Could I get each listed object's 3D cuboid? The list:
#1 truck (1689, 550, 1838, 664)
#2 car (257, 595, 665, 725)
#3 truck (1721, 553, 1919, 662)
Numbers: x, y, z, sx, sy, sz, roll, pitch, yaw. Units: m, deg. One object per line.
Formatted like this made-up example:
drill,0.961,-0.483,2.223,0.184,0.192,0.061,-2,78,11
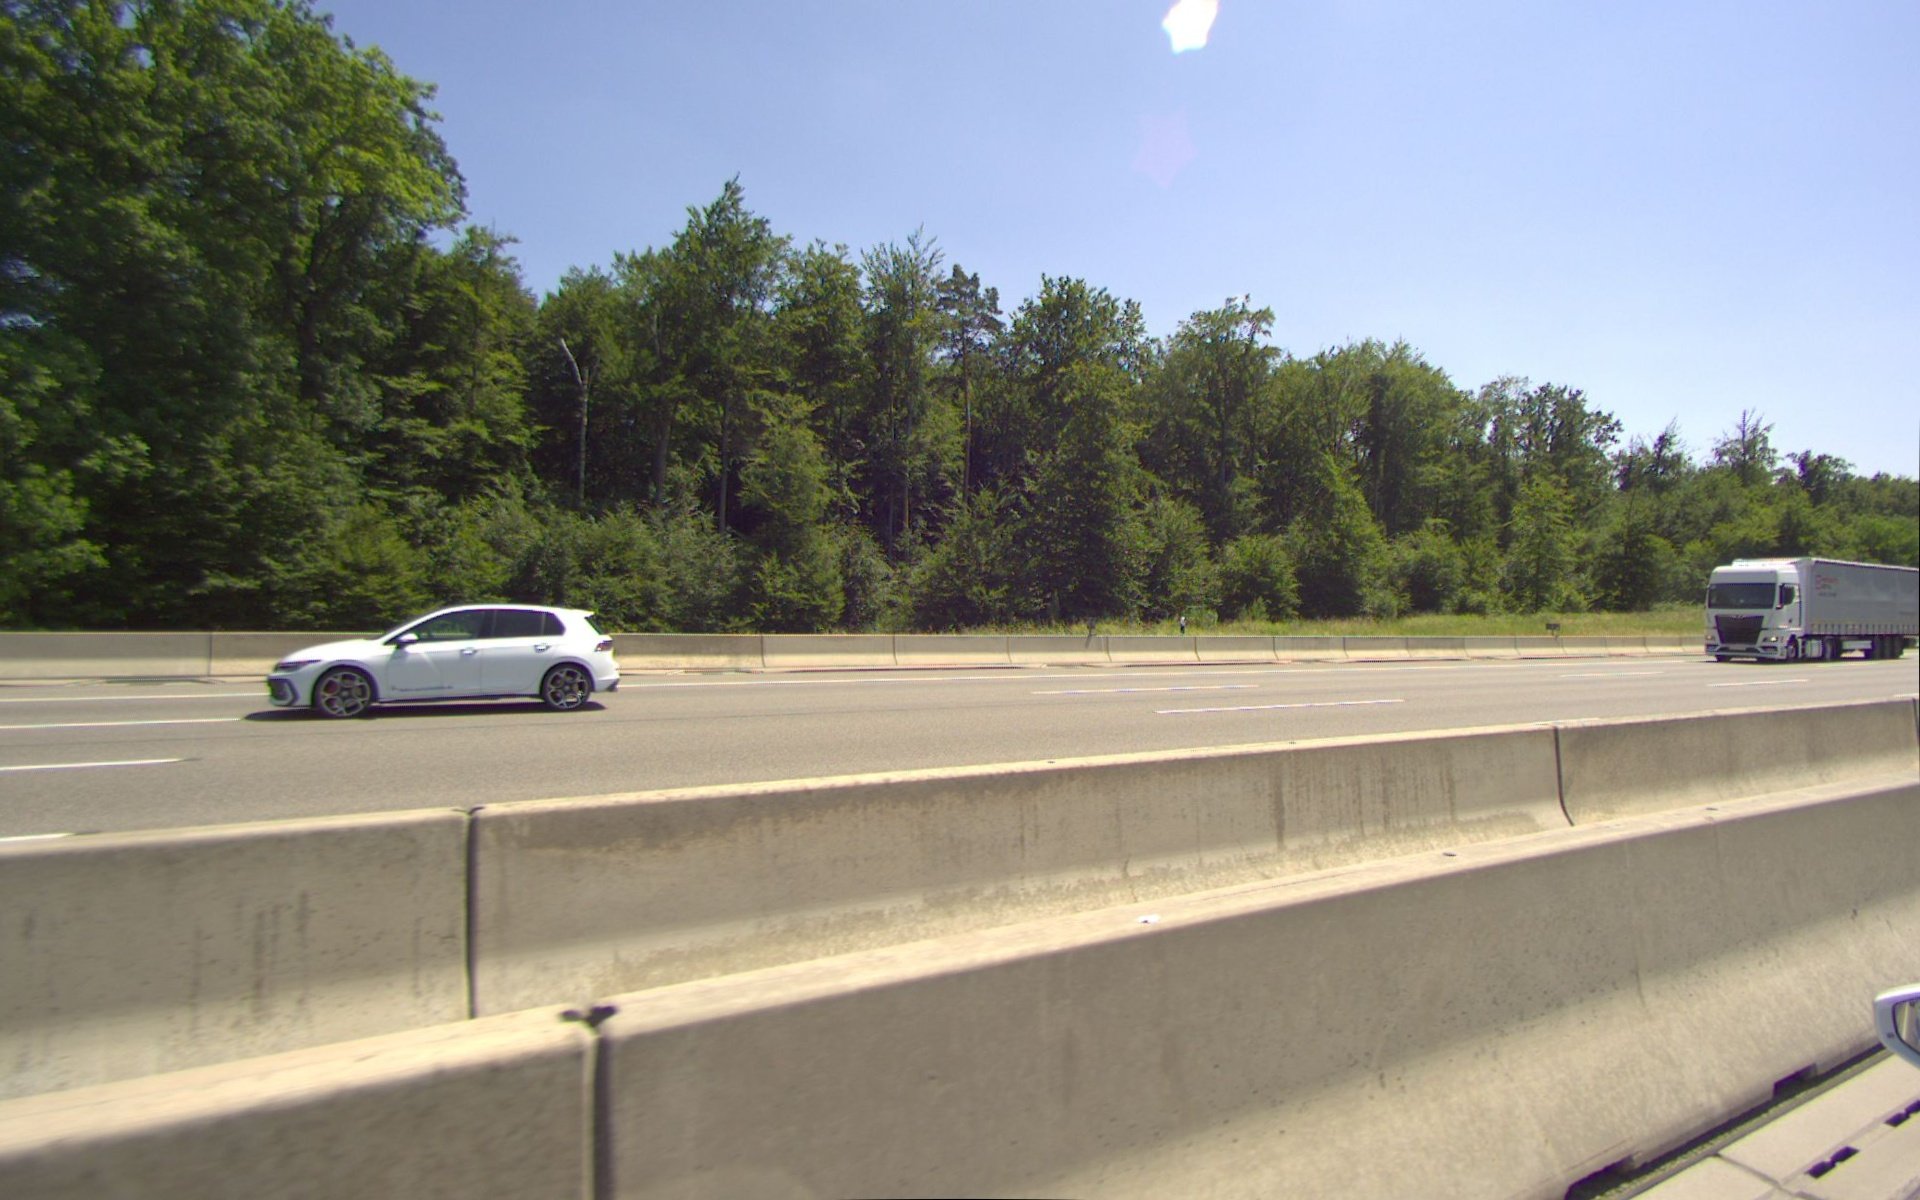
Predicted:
truck,32.097,0.306,40.087,6.159,4.233,2.669,1,0,-31
car,-6.750,0.777,13.966,4.757,1.500,1.863,2,1,-30
truck,37.971,0.418,43.631,14.342,4.233,2.743,1,0,-31
